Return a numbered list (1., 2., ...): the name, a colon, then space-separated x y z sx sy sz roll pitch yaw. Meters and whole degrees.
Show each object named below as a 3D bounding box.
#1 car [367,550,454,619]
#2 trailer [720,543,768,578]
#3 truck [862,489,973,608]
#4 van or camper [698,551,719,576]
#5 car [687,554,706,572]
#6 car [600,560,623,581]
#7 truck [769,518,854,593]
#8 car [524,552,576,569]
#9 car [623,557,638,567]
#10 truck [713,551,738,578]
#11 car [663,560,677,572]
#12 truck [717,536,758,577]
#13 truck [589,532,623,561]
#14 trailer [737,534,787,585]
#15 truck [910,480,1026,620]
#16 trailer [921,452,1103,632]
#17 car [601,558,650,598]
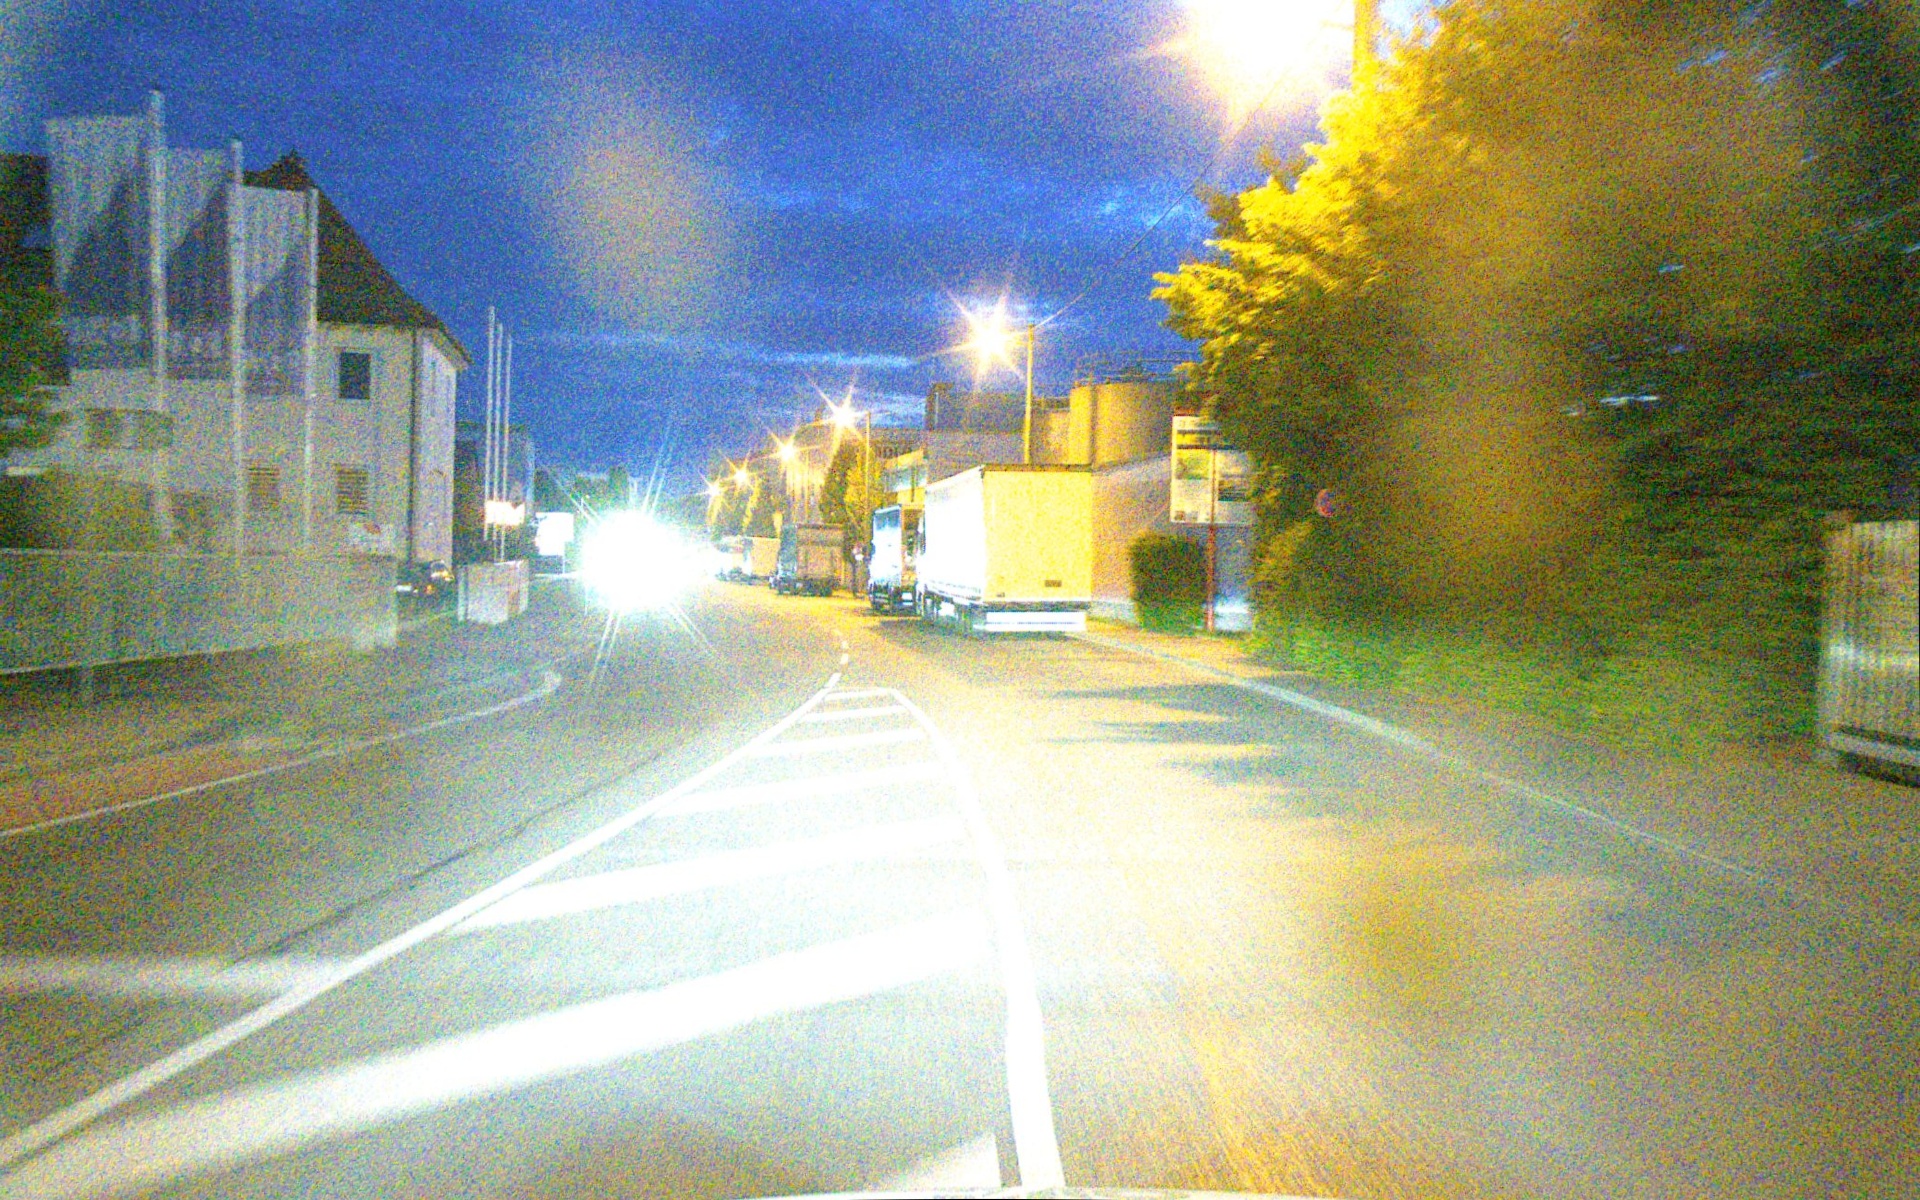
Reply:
1. car: -13.266 -0.418 39.812 1.801 1.520 4.501 1 1 -21
2. trailer: -18.080 -3.286 138.009 3.128 2.796 10.683 0 1 -12
3. truck: -1.725 -1.848 61.480 2.778 4.052 10.320 0 1 -9
4. van or camper: -27.114 -3.953 177.919 1.958 2.626 4.902 1 1 -11
5. car: -31.498 -4.435 197.775 1.958 2.183 3.989 1 1 -12
6. car: -31.435 -2.699 149.197 1.958 1.825 3.989 1 1 -12
7. truck: -8.599 -2.501 94.412 3.460 4.052 10.307 0 1 -13
8. car: -40.644 -3.941 163.963 4.574 1.511 1.976 1 1 -35
9. car: -47.323 -5.490 237.501 1.958 1.422 3.989 1 1 -12
10. truck: -22.225 -3.340 156.812 1.958 2.449 5.277 1 1 -12
11. car: -43.225 -5.146 246.601 1.958 1.713 3.989 1 1 -12
12. truck: -19.560 -3.778 144.968 3.096 3.523 6.653 0 1 -12
13. truck: -48.015 -7.219 224.216 3.829 3.684 8.221 1 1 -17
14. trailer: -14.677 -2.955 122.089 2.642 3.524 7.780 2 1 -14
15. truck: 0.142 -1.507 51.103 2.777 4.052 6.040 0 1 -8
16. trailer: 1.015 -1.432 44.347 2.755 4.052 13.953 0 1 -7
17. car: -15.098 -1.011 74.518 1.959 1.665 4.758 2 1 -13
